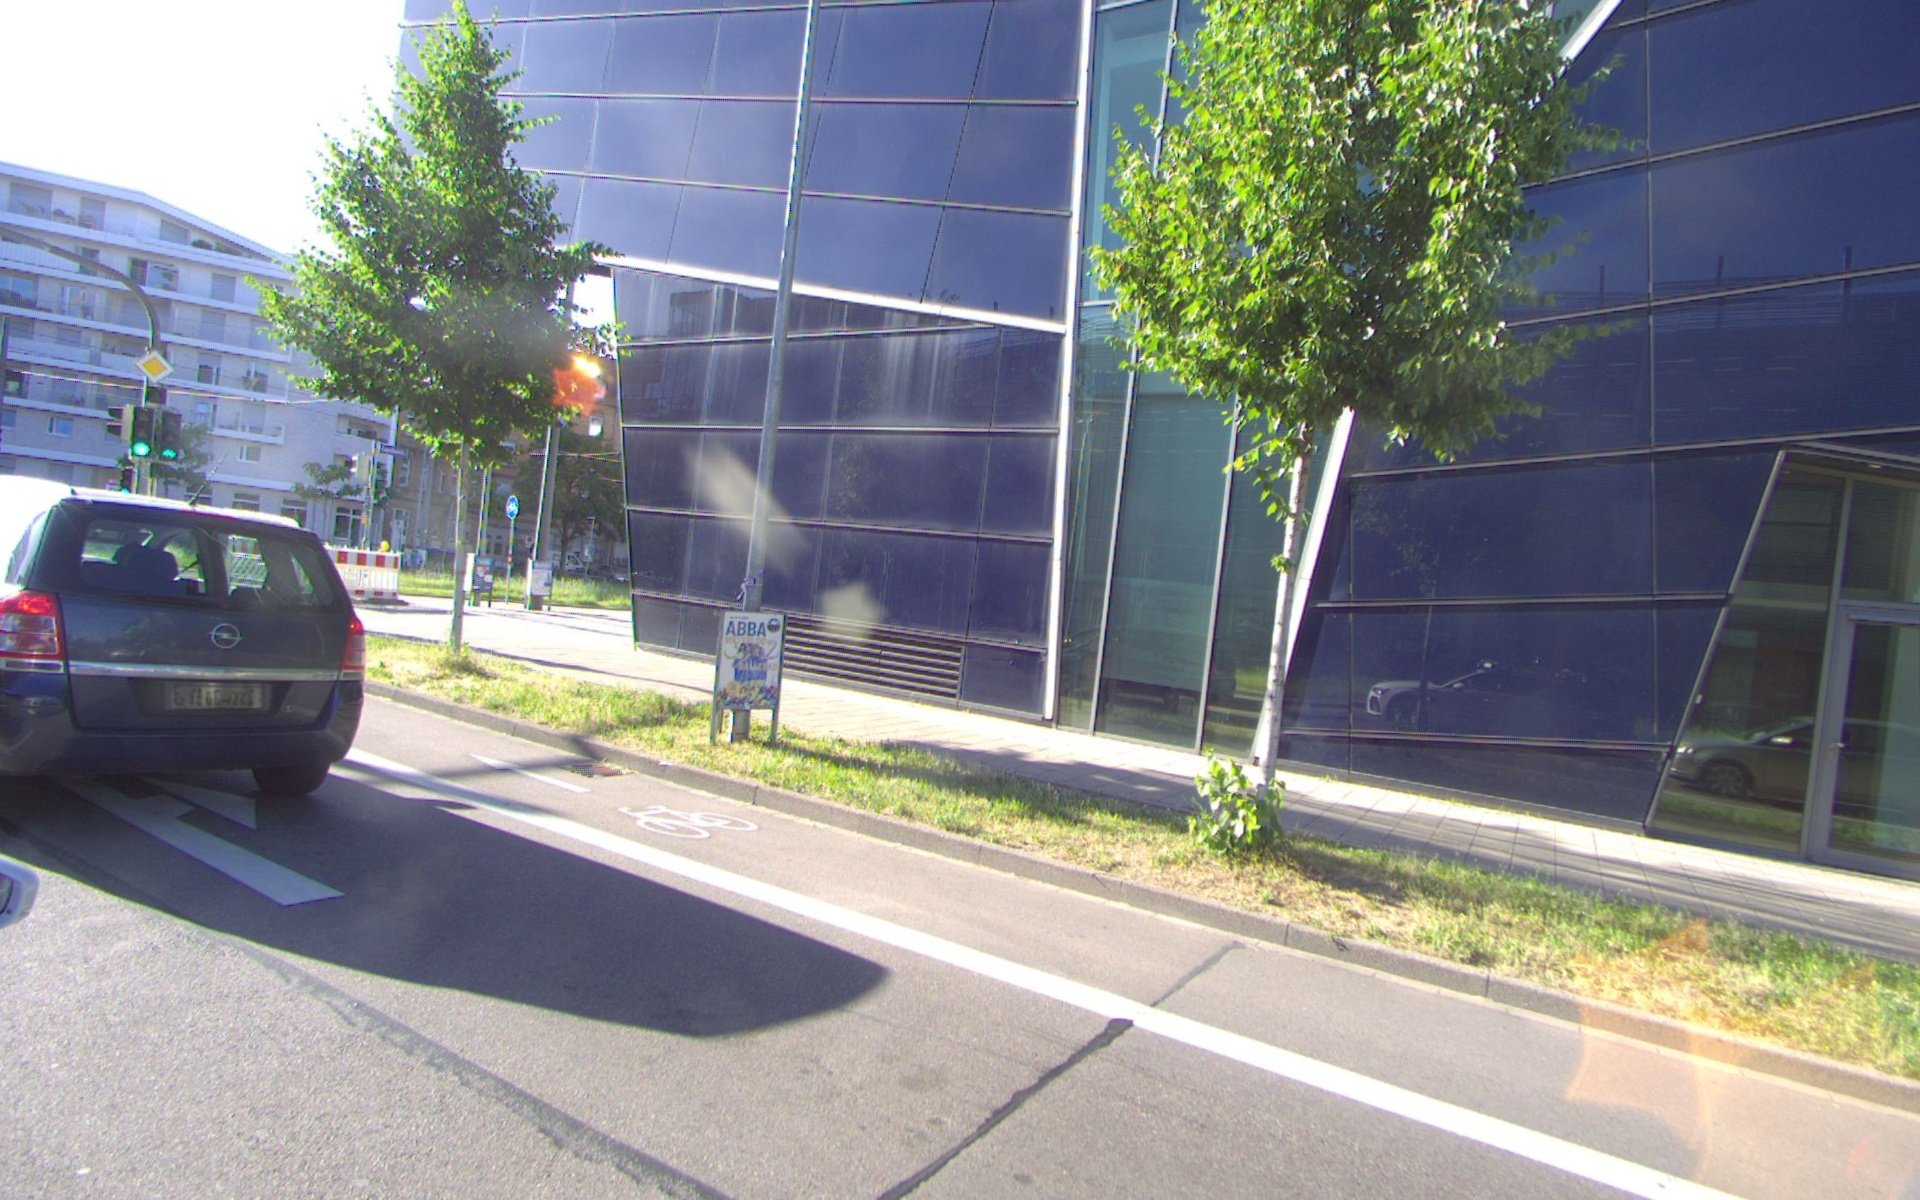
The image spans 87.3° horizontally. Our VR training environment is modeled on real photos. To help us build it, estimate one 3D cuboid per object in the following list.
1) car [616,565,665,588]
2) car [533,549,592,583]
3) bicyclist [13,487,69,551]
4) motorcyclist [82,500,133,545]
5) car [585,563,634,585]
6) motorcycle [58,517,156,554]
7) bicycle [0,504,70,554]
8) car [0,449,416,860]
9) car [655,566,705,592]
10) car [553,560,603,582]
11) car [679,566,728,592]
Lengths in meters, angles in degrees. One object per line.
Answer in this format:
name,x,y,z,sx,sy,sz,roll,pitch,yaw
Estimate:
car,-26.143,-1.935,82.220,3.944,1.505,1.990,6,0,41
car,-34.610,-2.965,87.589,4.541,2.339,1.989,7,0,-23
bicyclist,-27.267,-2.390,29.853,0.913,1.728,0.768,6,1,19
motorcyclist,-31.501,-2.865,37.190,1.150,1.500,0.927,6,0,24
car,-28.231,-2.132,80.975,3.944,1.371,1.990,6,0,41
motorcycle,-31.533,-2.373,37.240,1.150,1.013,2.459,6,0,24
bicycle,-27.705,-2.123,29.994,2.043,1.278,0.768,6,0,19
car,-5.361,0.133,5.970,4.190,1.715,1.749,6,-2,32
car,-23.284,-1.747,83.604,3.944,1.794,1.990,6,0,41
car,-30.186,-2.308,79.542,3.944,1.371,1.990,6,0,41
car,-21.839,-1.805,85.679,3.941,1.794,1.992,6,0,38
